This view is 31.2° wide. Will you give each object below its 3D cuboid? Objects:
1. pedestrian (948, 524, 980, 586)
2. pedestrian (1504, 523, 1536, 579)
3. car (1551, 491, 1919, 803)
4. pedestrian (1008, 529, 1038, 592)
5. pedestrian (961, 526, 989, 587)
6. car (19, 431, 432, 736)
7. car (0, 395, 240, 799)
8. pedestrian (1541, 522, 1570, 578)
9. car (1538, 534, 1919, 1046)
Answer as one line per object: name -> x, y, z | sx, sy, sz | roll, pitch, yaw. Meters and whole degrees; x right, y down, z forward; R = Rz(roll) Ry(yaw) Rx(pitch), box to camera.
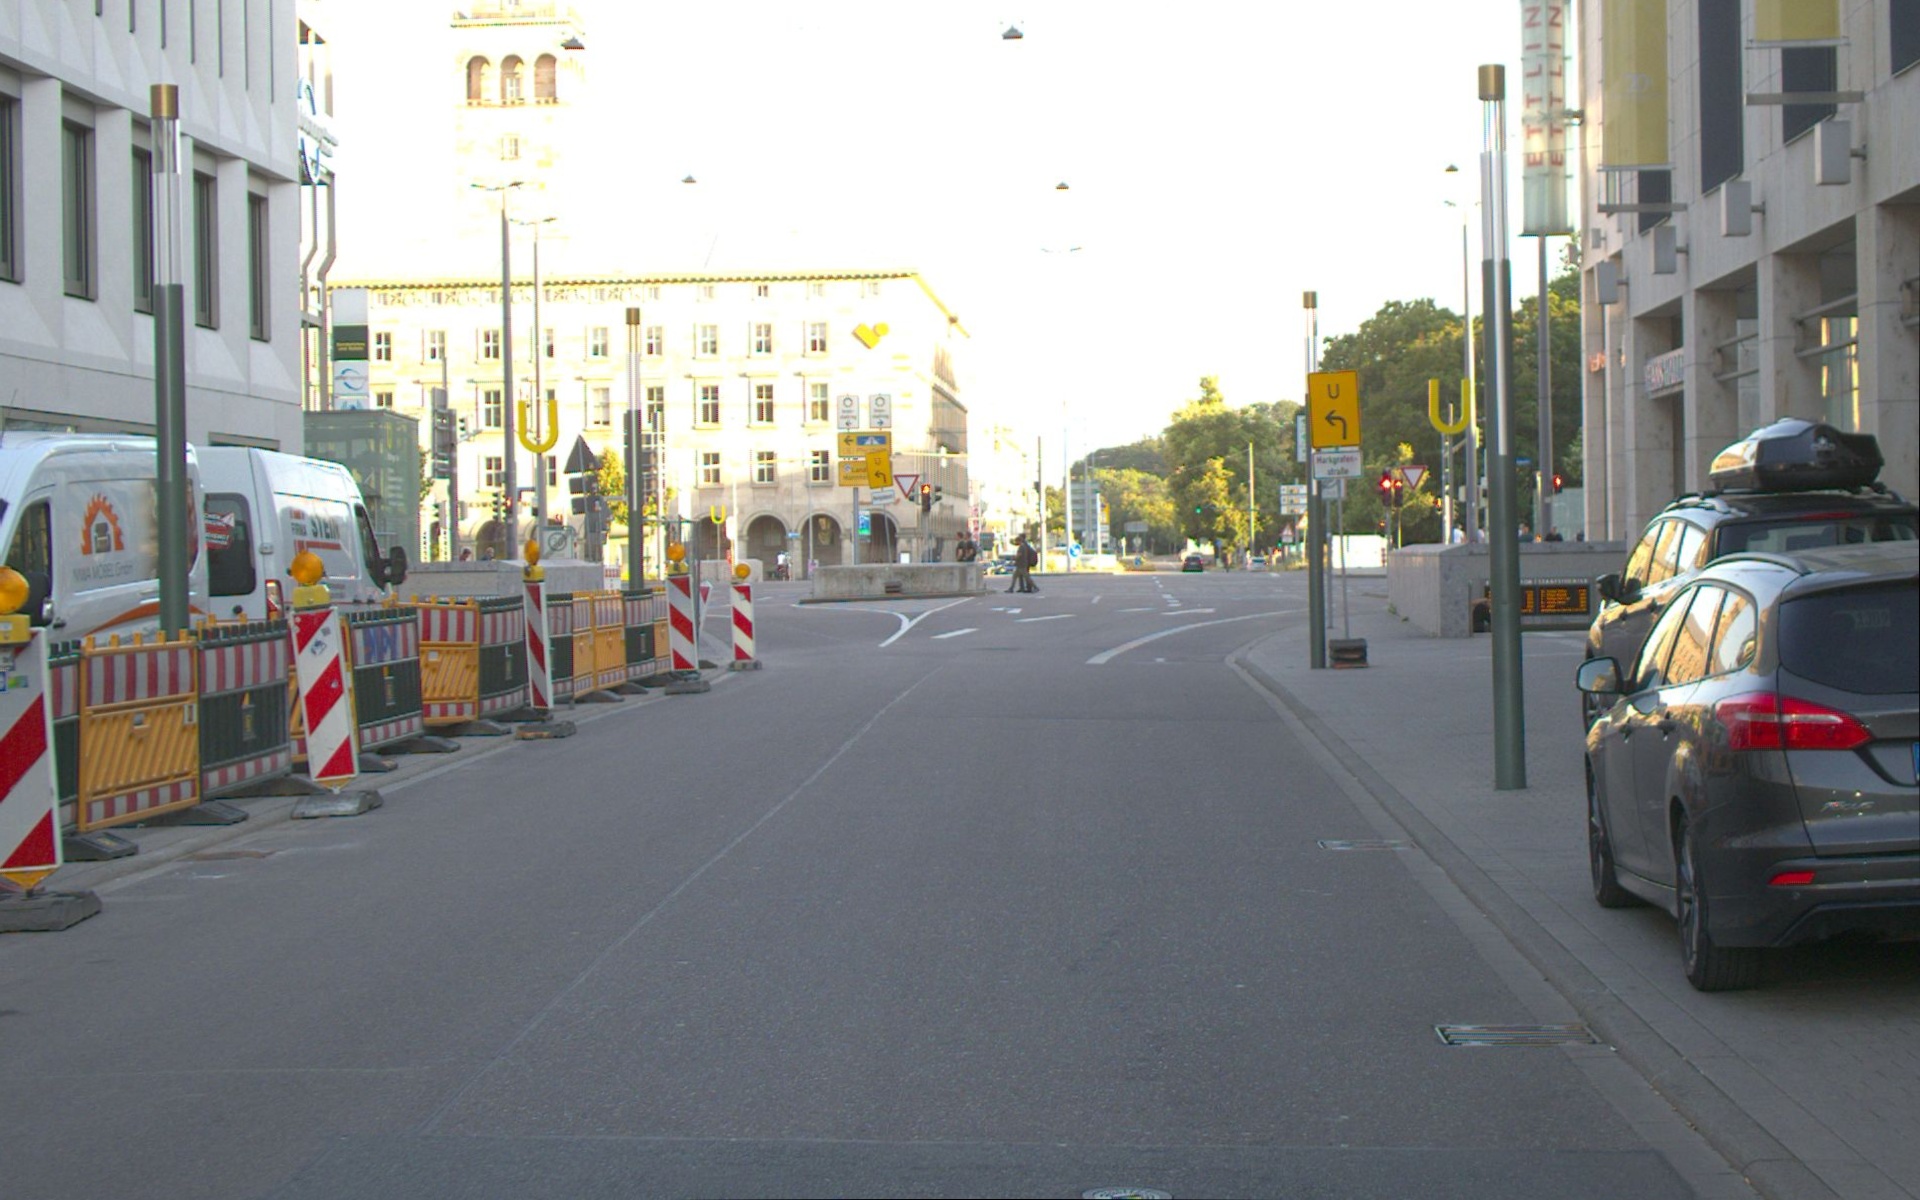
pedestrian -> 0.121, -1.340, 101.971 | 0.738, 1.771, 0.863 | -3, 1, 9
pedestrian -> 18.316, -1.603, 112.438 | 0.861, 1.771, 0.741 | -3, 1, 4
car -> 4.813, 0.224, 21.088 | 1.768, 1.632, 4.057 | -4, 1, 3
pedestrian -> 1.816, -1.154, 99.256 | 0.738, 1.771, 0.863 | -3, 1, 0
pedestrian -> 0.449, -1.312, 102.895 | 0.738, 1.771, 0.863 | -3, 1, 1
car -> -6.441, -0.184, 31.000 | 2.173, 2.462, 5.999 | 0, 1, 3
car -> -6.802, -0.057, 23.556 | 2.174, 2.462, 5.999 | 0, 1, 3
pedestrian -> 19.394, -1.637, 111.946 | 0.756, 1.771, 0.741 | -3, 1, 4
car -> 3.316, 0.539, 12.618 | 1.795, 1.485, 4.192 | -4, 1, 3
